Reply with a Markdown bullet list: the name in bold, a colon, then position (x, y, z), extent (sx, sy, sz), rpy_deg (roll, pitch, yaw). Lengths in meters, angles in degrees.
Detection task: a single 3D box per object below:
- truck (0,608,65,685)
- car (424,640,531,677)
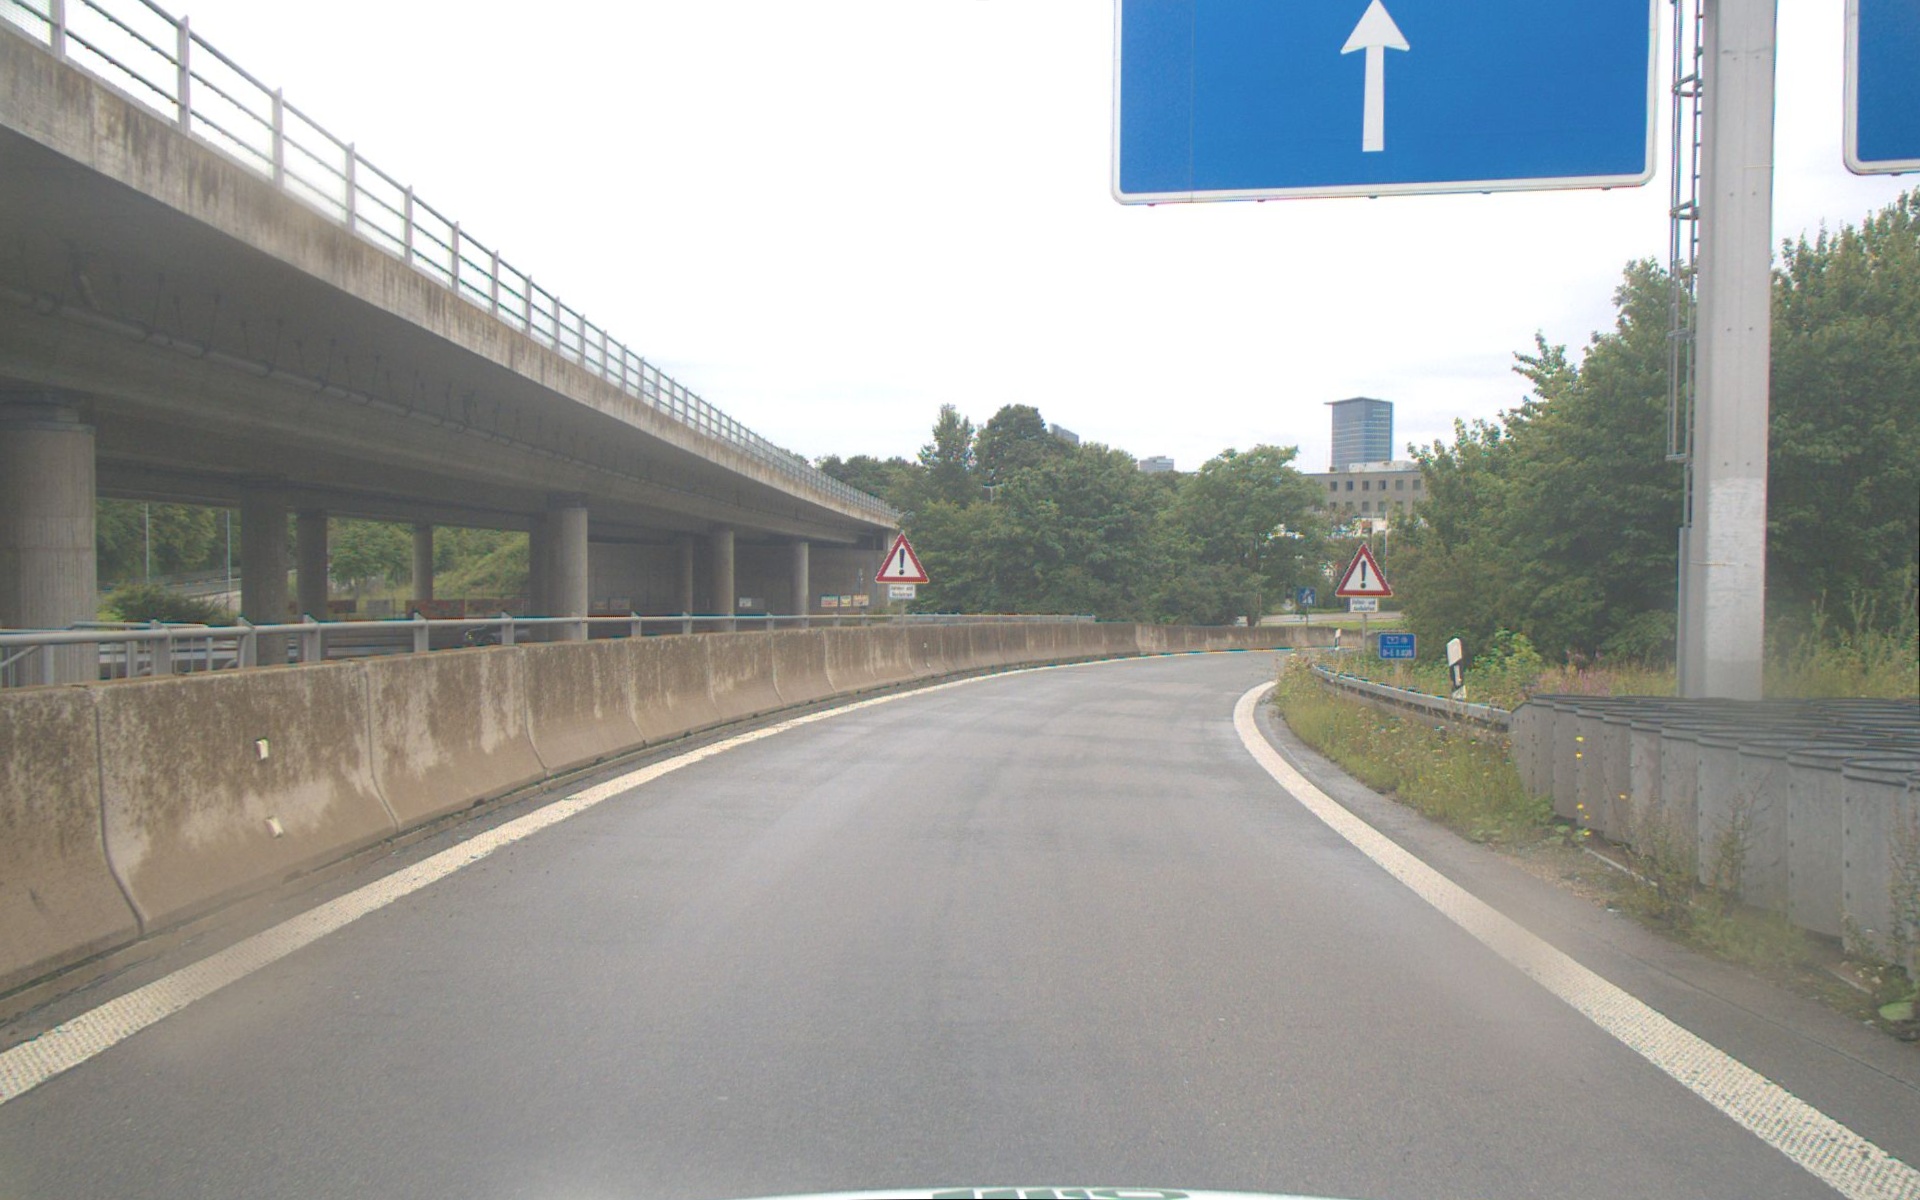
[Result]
- **truck**: position (-39.325, 1.809, 64.896), extent (7.154, 3.030, 2.231), rpy_deg (2, -2, -37)
- **car**: position (-22.901, 2.750, 78.566), extent (4.550, 1.611, 1.946), rpy_deg (0, -1, -41)
